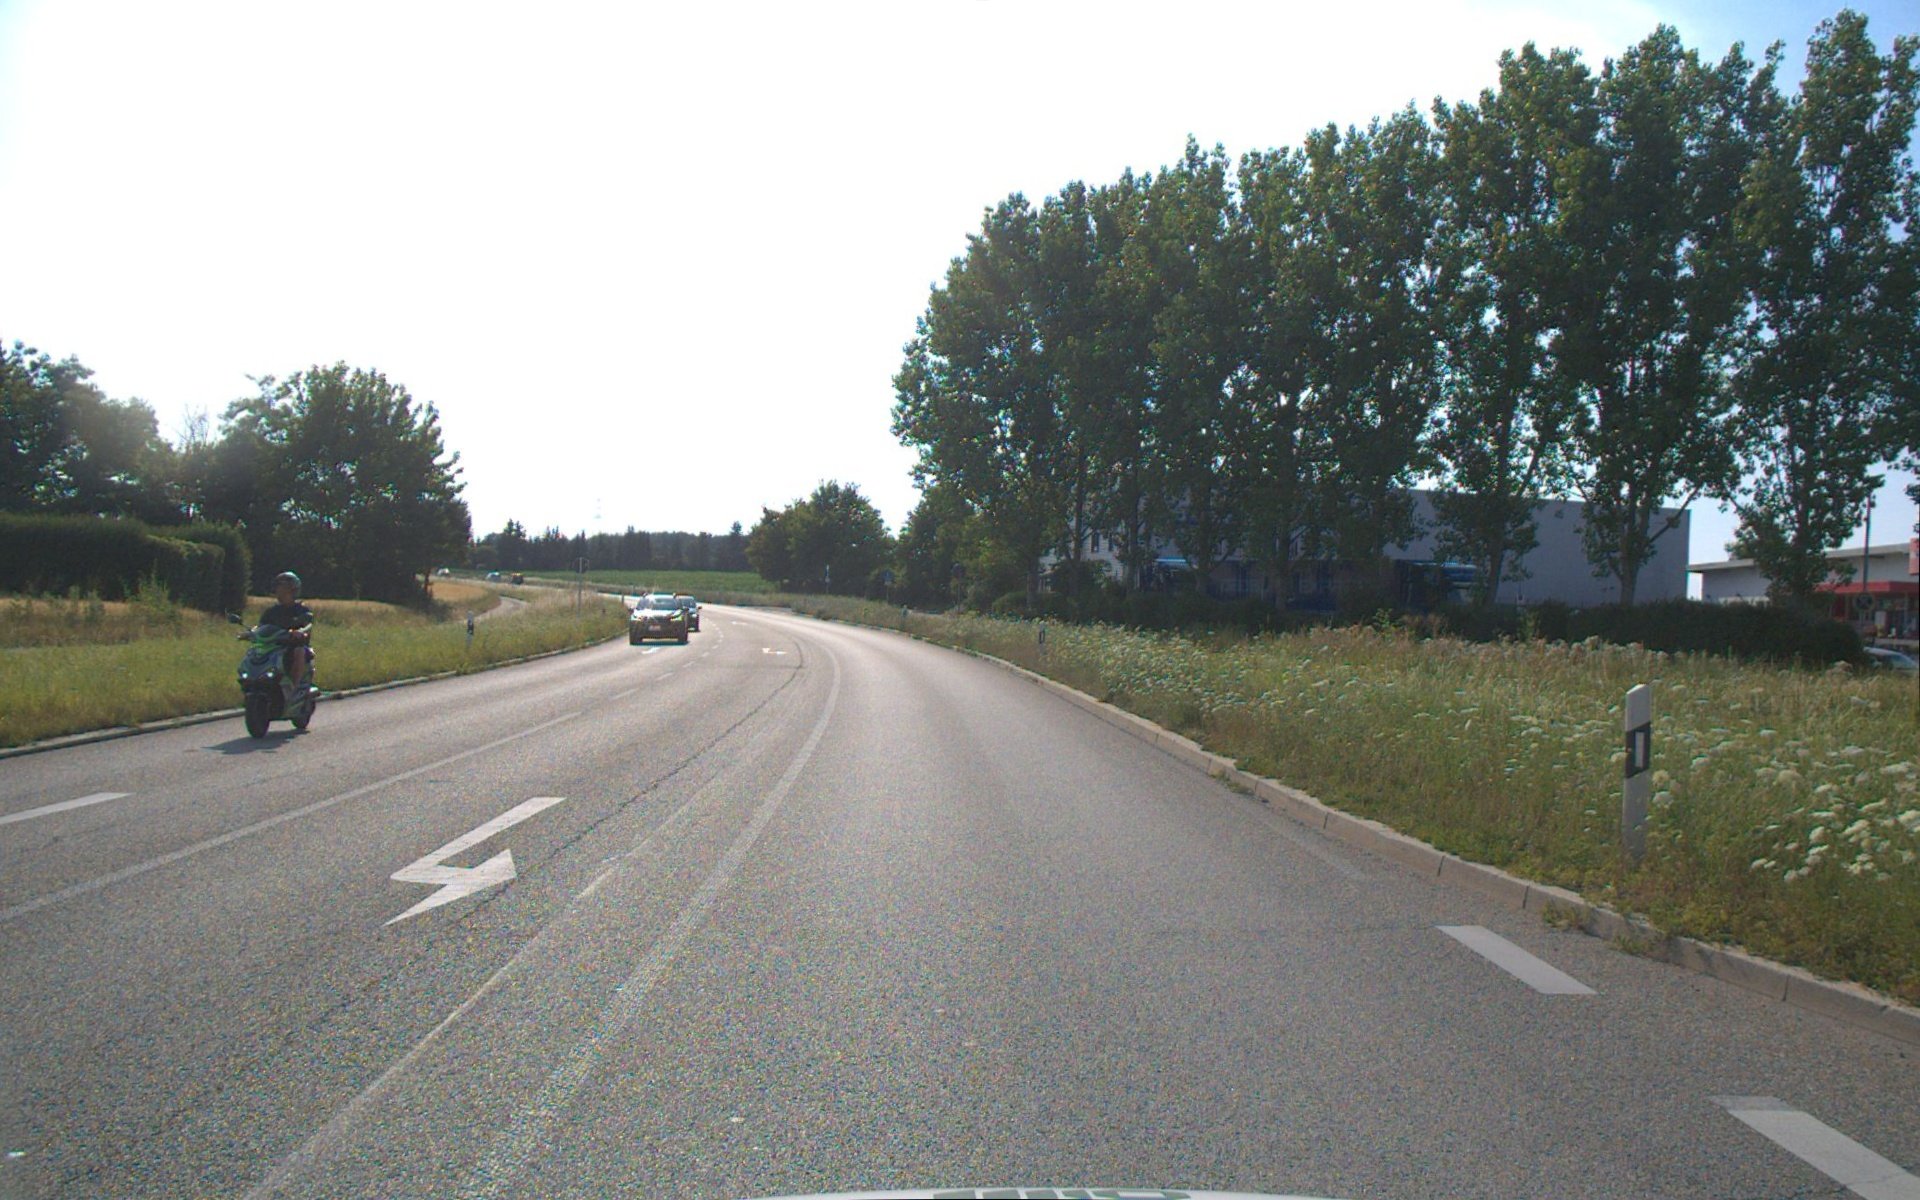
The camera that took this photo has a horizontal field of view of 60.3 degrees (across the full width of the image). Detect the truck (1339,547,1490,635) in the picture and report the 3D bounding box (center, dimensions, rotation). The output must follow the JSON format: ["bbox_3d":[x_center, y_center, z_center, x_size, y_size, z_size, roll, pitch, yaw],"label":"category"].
[{"bbox_3d":[18.338,-0.360,67.049,2.590,3.216,5.659,5,-2,-27],"label":"truck"}]

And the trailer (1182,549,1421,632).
[{"bbox_3d":[14.873,-0.397,73.845,2.652,3.196,13.153,5,-2,-27],"label":"trailer"}]

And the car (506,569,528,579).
[{"bbox_3d":[-57.492,-3.389,214.598,1.944,1.171,3.835,5,-1,-26],"label":"car"}]

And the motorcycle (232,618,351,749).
[{"bbox_3d":[-7.219,0.866,17.951,0.574,1.283,2.118,2,0,-5],"label":"motorcycle"}]

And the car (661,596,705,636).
[{"bbox_3d":[-11.491,0.630,68.574,1.654,1.372,3.624,5,1,-10],"label":"car"}]

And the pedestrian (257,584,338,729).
[{"bbox_3d":[-7.221,0.596,18.048,0.555,1.531,0.864,2,0,-5],"label":"pedestrian"}]

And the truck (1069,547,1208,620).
[{"bbox_3d":[9.243,-0.911,87.094,2.480,3.434,9.610,5,-1,-25],"label":"truck"}]

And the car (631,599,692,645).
[{"bbox_3d":[-9.620,0.689,53.511,1.652,1.372,3.995,2,0,-6],"label":"car"}]
